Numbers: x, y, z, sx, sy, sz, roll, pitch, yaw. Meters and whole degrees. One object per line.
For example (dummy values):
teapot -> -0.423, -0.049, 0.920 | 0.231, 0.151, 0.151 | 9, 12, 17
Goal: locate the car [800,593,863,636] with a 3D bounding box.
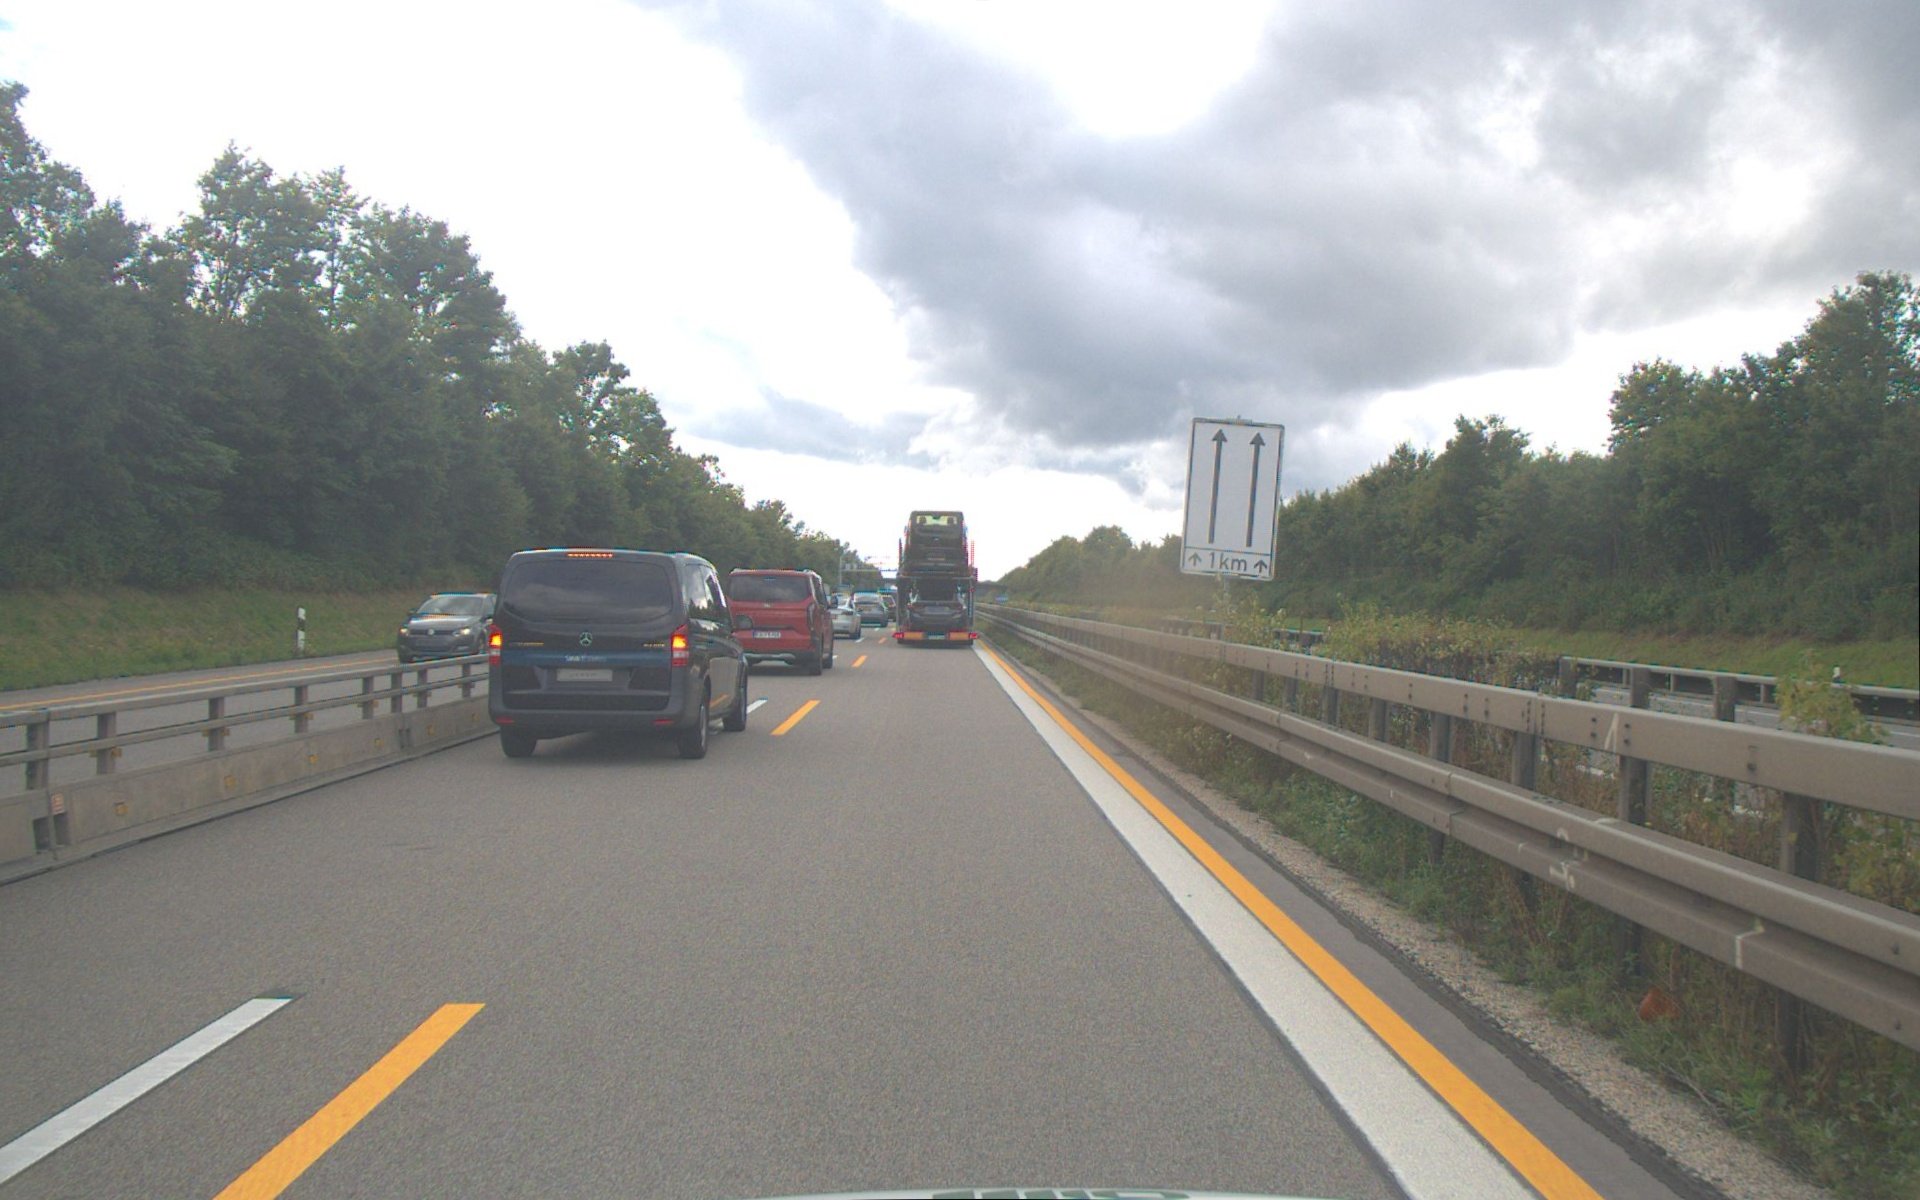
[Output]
car -> -4.530, 0.504, 58.765 | 1.990, 1.456, 4.576 | 0, 0, -2

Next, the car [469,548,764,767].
car -> -3.278, 0.492, 17.013 | 1.953, 1.875, 5.608 | 0, 0, -1

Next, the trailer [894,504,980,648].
trailer -> -0.729, -0.700, 54.020 | 2.464, 4.177, 11.111 | 1, 0, -1

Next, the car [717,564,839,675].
car -> -3.535, 0.360, 32.902 | 1.990, 2.049, 4.577 | 0, 0, -1

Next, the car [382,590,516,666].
car -> -10.508, 0.550, 34.245 | 1.634, 1.465, 3.786 | 1, 0, -1

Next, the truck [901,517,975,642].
truck -> -0.769, -0.698, 58.735 | 2.464, 4.177, 5.684 | 1, 0, -1

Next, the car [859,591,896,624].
car -> -4.644, 0.417, 93.187 | 1.990, 1.788, 4.576 | 0, 0, -2

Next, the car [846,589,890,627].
car -> -4.437, 0.378, 80.109 | 1.990, 1.788, 4.576 | 0, 0, -2

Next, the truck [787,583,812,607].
truck -> -19.175, -0.590, 197.749 | 2.439, 2.765, 6.666 | 1, 0, -1
